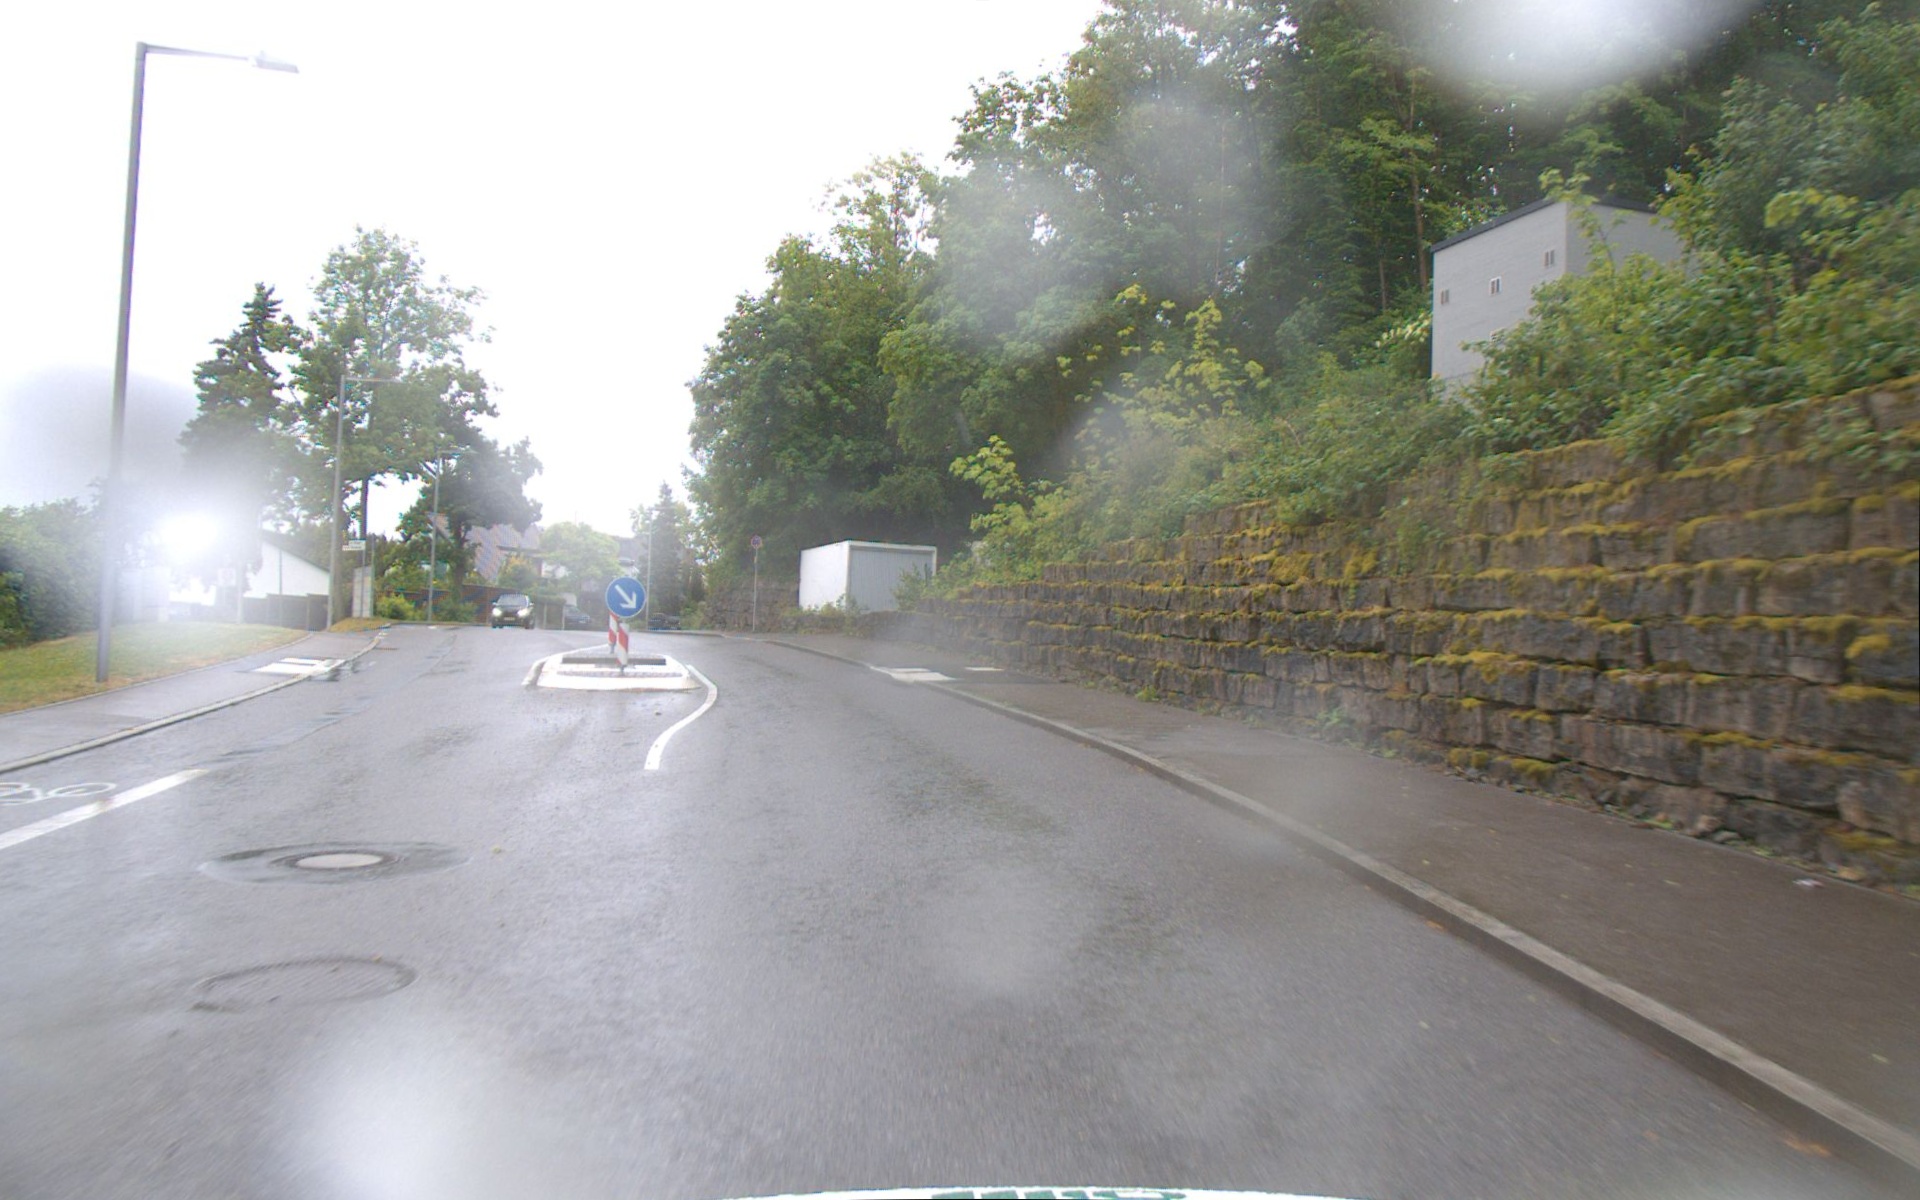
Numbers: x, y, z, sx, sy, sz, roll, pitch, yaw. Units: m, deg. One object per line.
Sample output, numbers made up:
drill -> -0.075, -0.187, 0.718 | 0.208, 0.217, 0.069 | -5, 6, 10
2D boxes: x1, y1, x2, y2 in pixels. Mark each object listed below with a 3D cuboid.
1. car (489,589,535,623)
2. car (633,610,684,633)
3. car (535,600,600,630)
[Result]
car -> -20.688, 0.276, 76.280 | 1.803, 1.547, 4.603 | 0, 0, -18
car -> -21.096, 1.510, 115.662 | 1.920, 1.413, 3.947 | 6, -3, -37
car -> -25.336, 0.965, 106.706 | 3.925, 1.660, 2.004 | 3, -2, 39
